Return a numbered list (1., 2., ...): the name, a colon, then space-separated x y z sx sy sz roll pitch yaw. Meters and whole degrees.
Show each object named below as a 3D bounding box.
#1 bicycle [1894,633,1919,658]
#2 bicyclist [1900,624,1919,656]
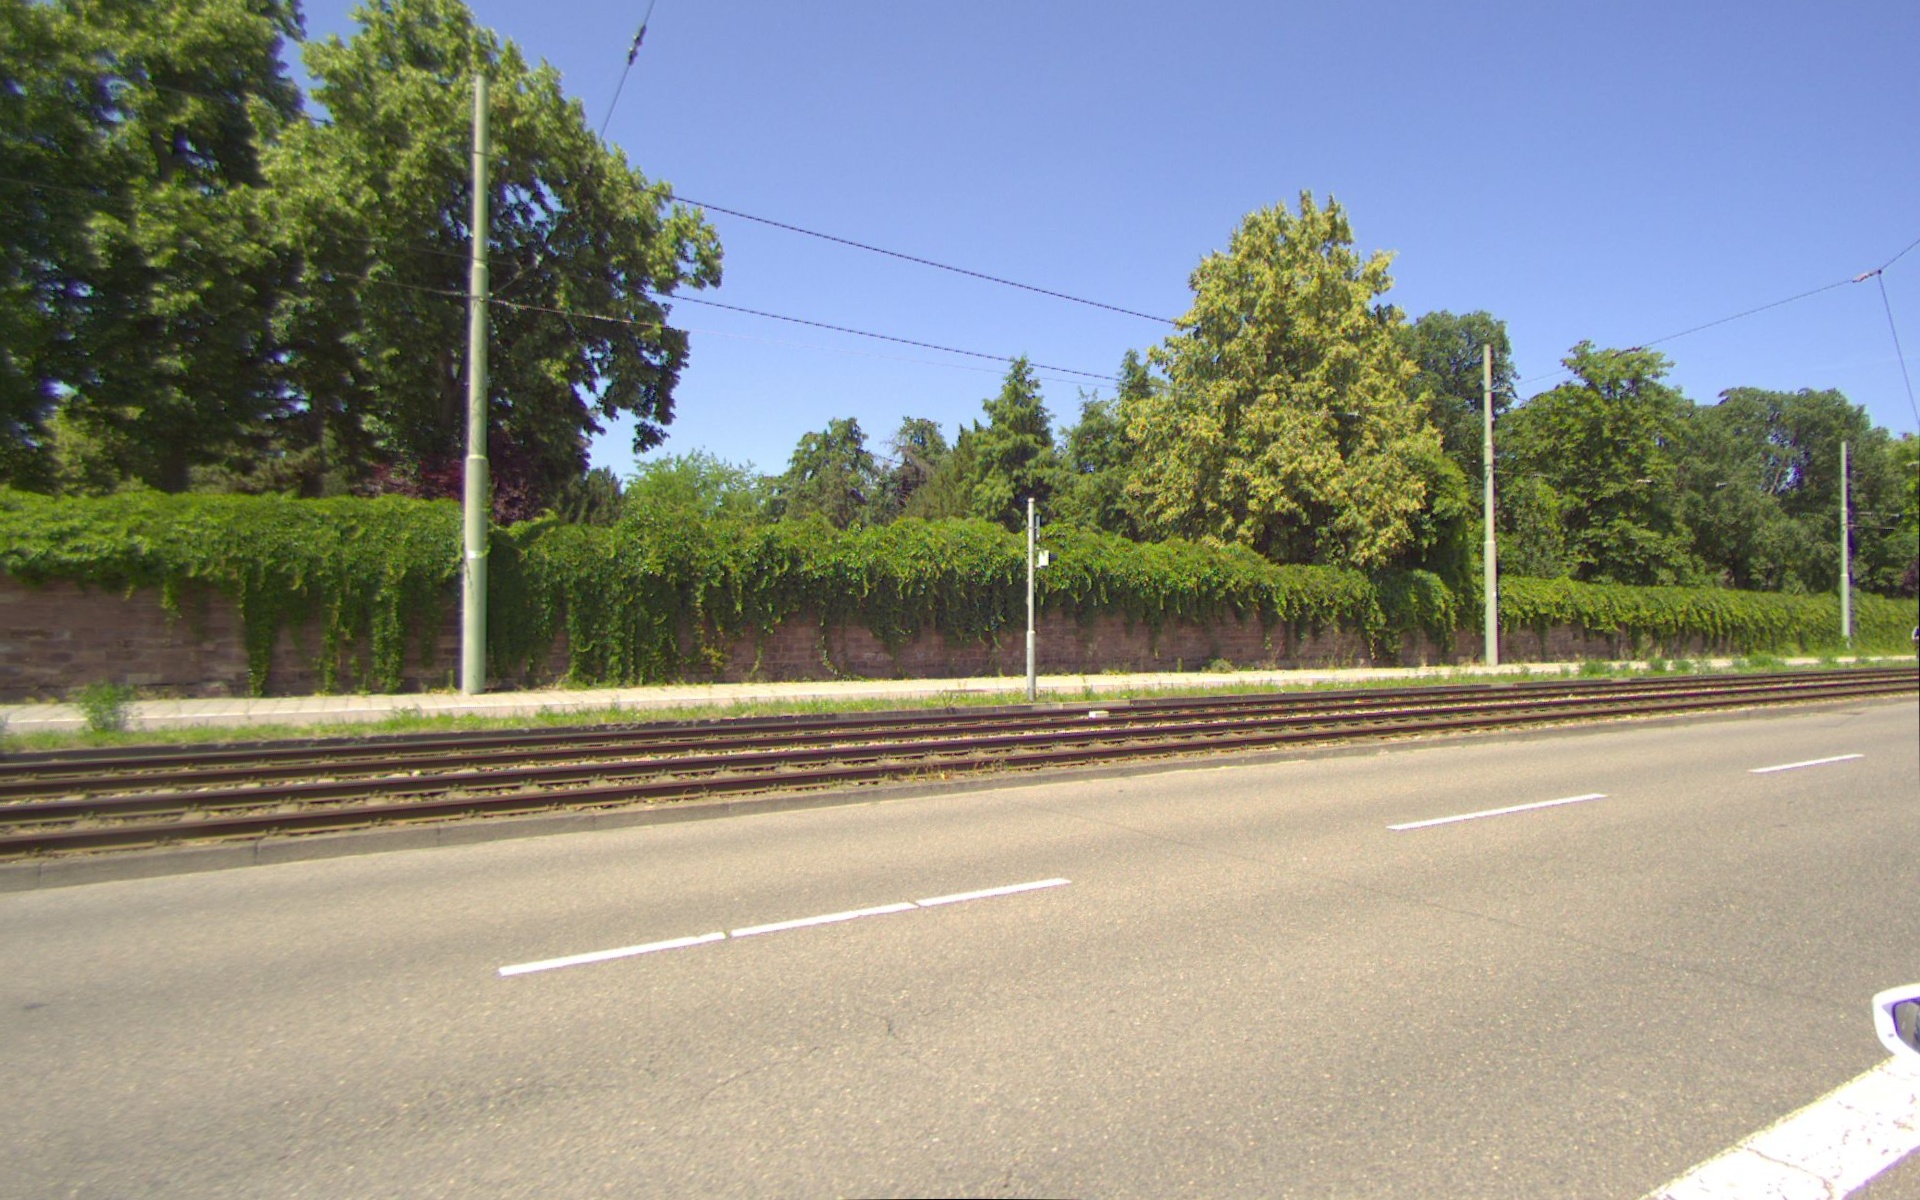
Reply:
1. bicycle: 46.223 2.210 48.595 2.655 1.171 0.824 1 -1 -31
2. bicyclist: 46.356 1.924 48.665 0.989 1.506 0.989 1 -1 -31
